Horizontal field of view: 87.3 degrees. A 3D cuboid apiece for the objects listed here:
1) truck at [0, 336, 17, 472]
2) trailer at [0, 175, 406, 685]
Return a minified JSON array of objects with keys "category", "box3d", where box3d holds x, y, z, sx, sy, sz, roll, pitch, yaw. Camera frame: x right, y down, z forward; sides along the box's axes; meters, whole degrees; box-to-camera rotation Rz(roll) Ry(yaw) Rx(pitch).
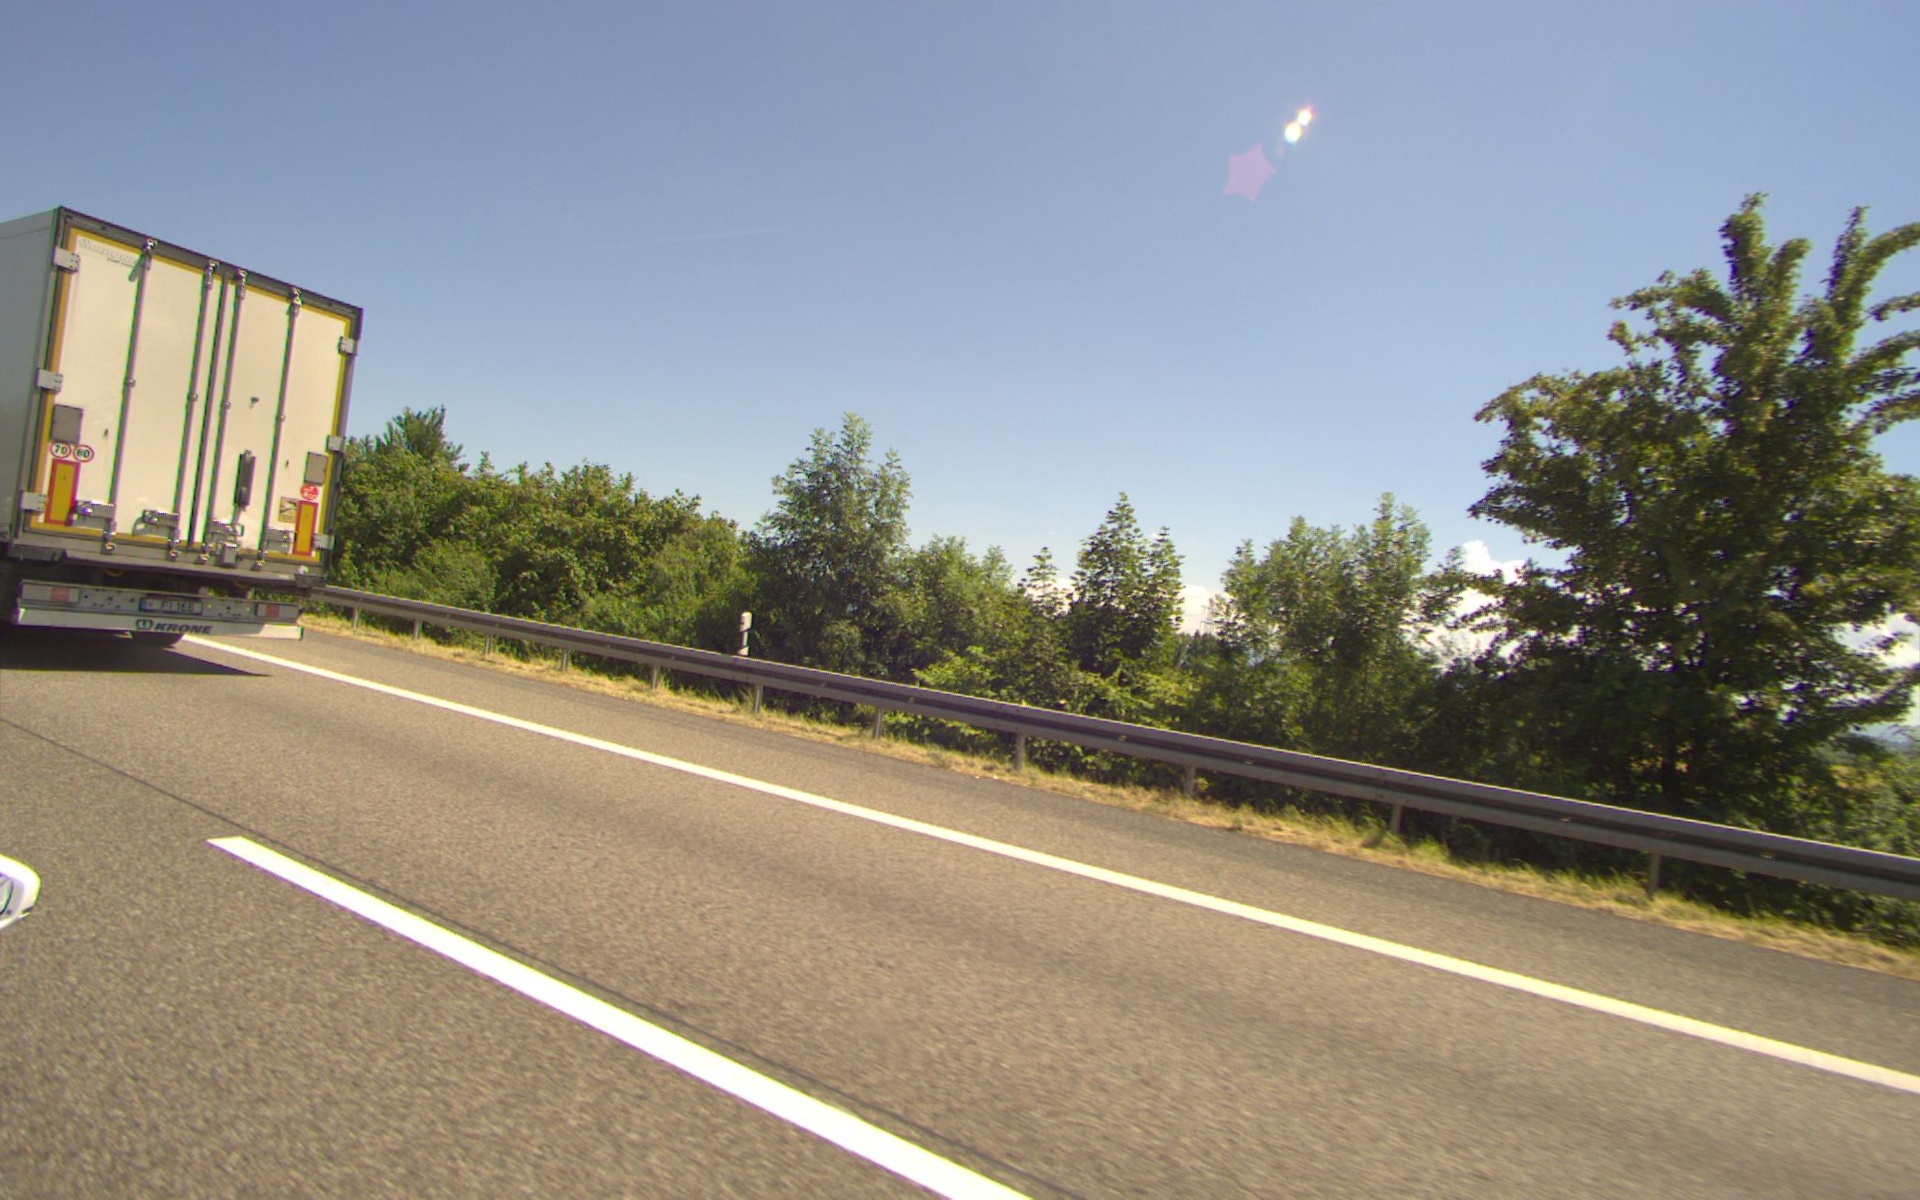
[{"category":"truck","box3d":[-19.235,-2.689,16.987,6.103,4.154,2.965,7,-1,31]},{"category":"trailer","box3d":[-12.182,-1.884,12.713,12.323,4.154,2.965,7,-1,31]}]
